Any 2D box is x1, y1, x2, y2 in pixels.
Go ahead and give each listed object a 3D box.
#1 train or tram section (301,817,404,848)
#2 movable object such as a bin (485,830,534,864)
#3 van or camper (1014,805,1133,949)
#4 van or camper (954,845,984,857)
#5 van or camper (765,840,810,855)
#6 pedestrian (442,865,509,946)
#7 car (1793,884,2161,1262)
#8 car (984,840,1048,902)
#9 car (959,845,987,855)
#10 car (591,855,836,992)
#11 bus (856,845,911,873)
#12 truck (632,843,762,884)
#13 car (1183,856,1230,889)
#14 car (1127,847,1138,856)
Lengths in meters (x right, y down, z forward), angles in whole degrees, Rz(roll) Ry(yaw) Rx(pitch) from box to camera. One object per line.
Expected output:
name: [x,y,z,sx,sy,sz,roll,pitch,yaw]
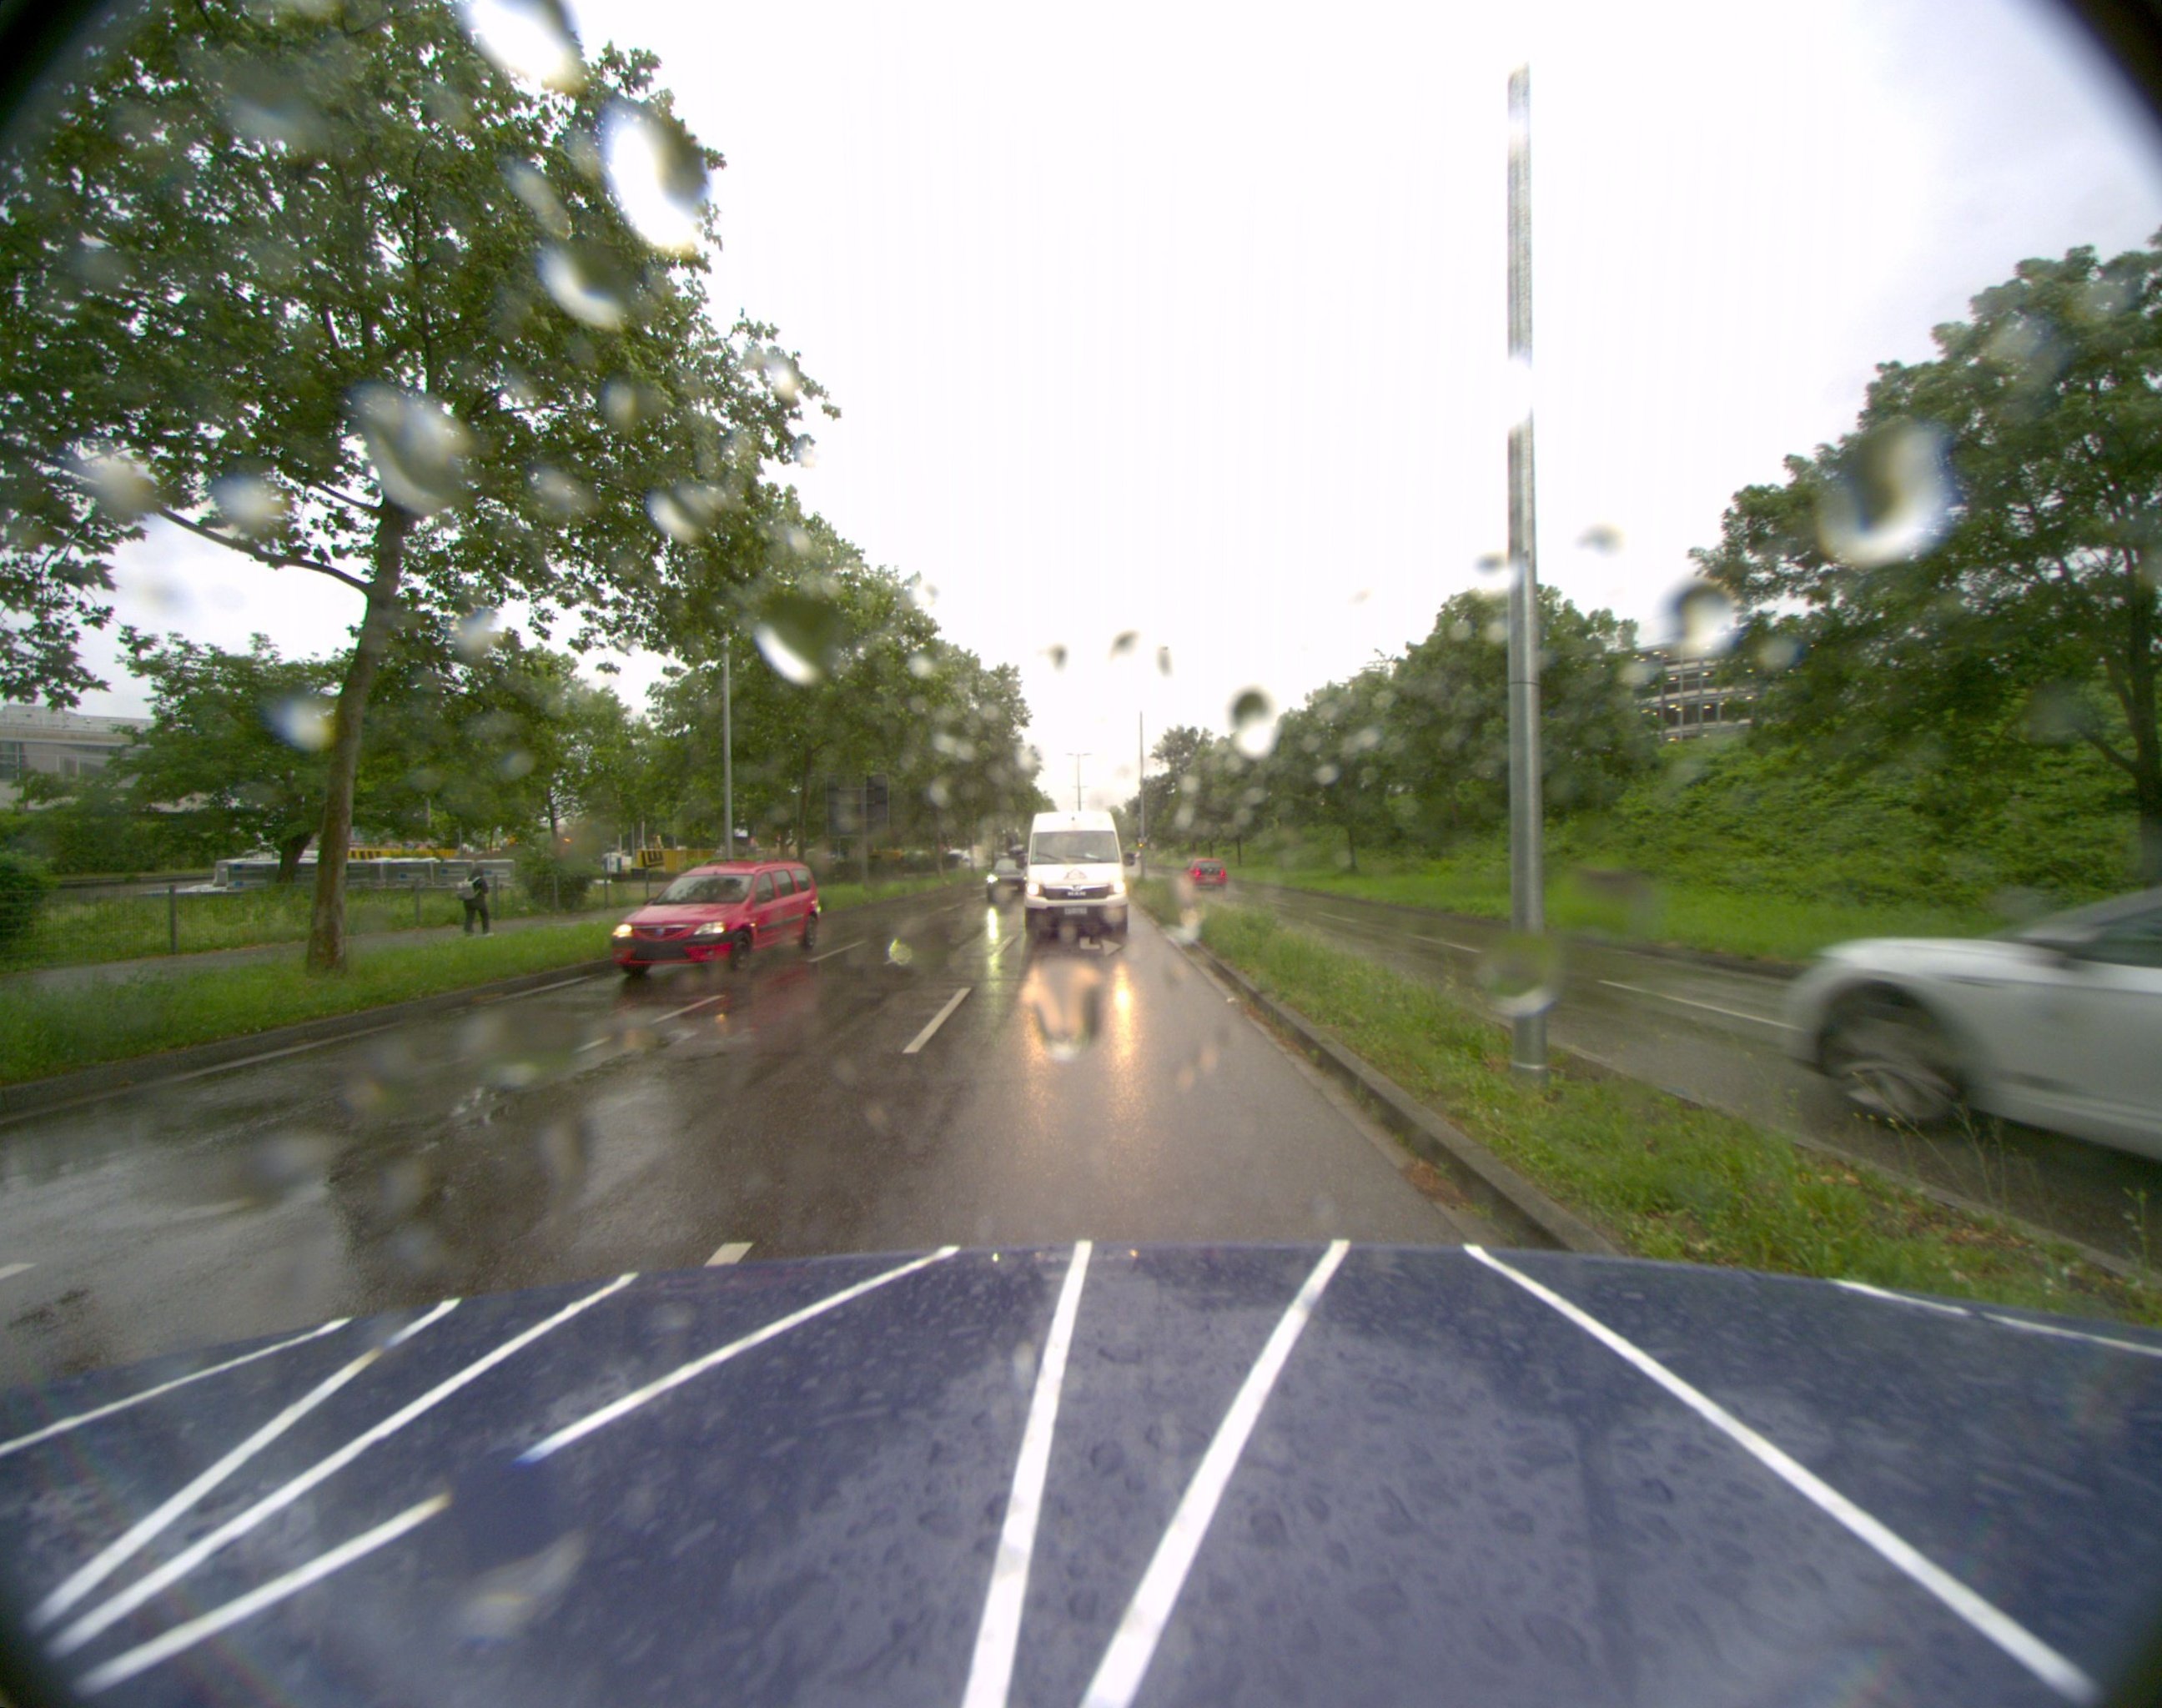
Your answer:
train or tram section: [-85.917,-2.576,89.863,8.385,3.500,2.393,-3,3,-38]
movable object such as a bin: [-63.674,-0.802,84.643,3.602,3.605,3.326,0,2,35]
van or camper: [-0.097,0.399,16.358,2.100,2.580,4.775,-2,1,1]
van or camper: [-19.671,-0.601,133.601,4.918,2.076,1.863,-1,1,-38]
van or camper: [-65.897,-1.539,170.708,8.994,3.140,2.979,-3,3,-35]
pedestrian: [-13.697,1.139,17.213,0.666,1.752,1.075,-1,1,-5]
car: [5.483,0.940,2.609,1.967,1.516,4.334,1,0,-1]
car: [-2.404,0.578,29.262,1.935,2.120,4.557,-2,1,1]
car: [-18.468,-0.664,130.388,4.470,1.663,1.863,-1,1,-38]
car: [-5.667,0.937,12.476,1.699,1.759,4.557,-1,1,1]
bus: [-19.362,0.437,74.603,4.804,2.632,2.000,-1,1,1]
truck: [-33.054,0.691,65.657,9.517,3.015,3.073,-3,3,-35]
car: [6.036,0.866,36.821,1.720,1.504,3.614,1,0,1]
car: [9.042,-0.446,132.641,1.700,1.608,3.847,-1,1,1]
